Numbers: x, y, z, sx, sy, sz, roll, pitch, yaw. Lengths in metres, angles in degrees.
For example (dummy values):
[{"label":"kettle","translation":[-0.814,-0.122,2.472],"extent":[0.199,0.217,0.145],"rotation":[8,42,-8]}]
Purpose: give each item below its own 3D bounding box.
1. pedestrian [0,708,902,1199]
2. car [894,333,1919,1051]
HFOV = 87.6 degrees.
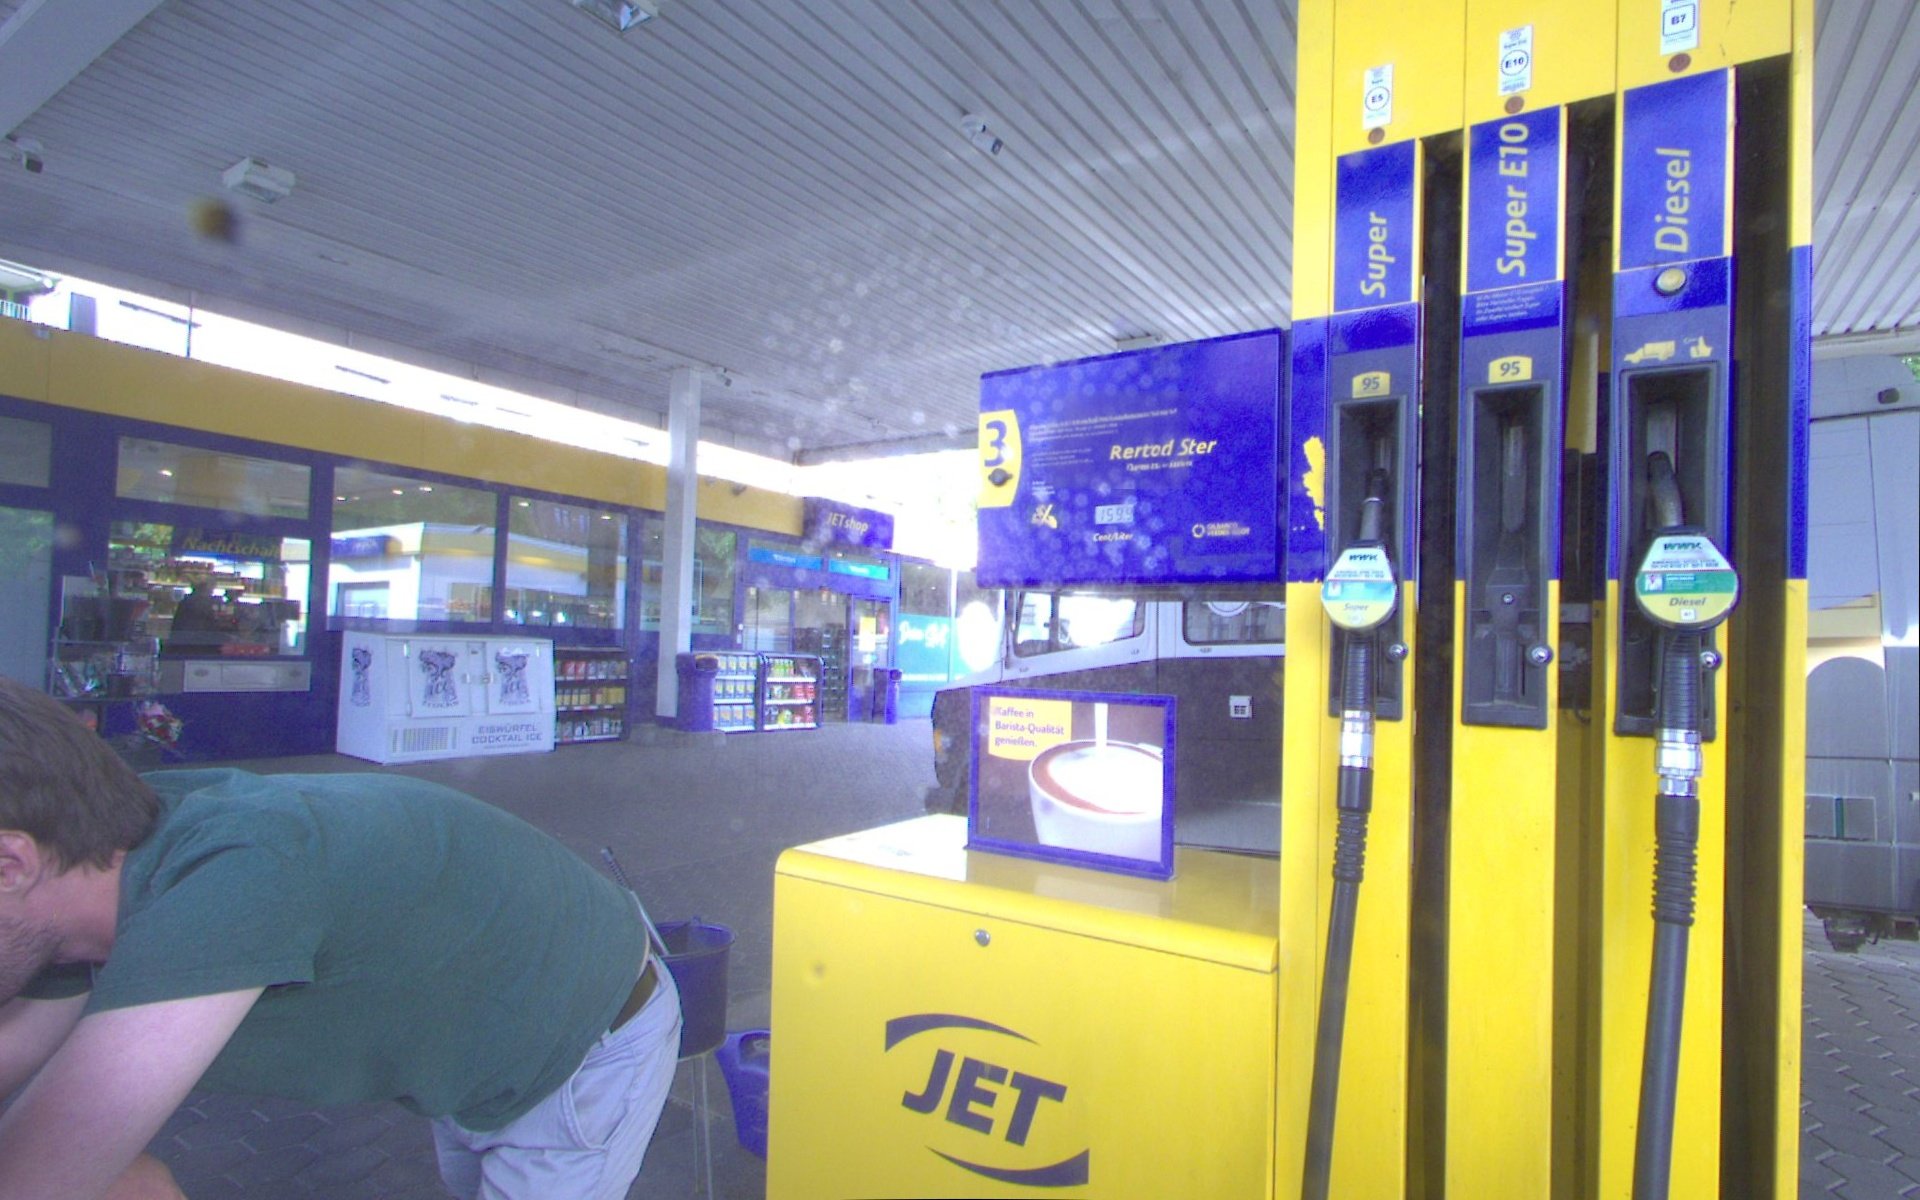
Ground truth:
[{"label":"pedestrian","translation":[-0.544,0.802,1.073],"extent":[0.664,1.298,0.749],"rotation":[-1,-1,31]},{"label":"car","translation":[2.379,0.406,6.018],"extent":[5.219,2.724,2.250],"rotation":[0,-3,34]}]
